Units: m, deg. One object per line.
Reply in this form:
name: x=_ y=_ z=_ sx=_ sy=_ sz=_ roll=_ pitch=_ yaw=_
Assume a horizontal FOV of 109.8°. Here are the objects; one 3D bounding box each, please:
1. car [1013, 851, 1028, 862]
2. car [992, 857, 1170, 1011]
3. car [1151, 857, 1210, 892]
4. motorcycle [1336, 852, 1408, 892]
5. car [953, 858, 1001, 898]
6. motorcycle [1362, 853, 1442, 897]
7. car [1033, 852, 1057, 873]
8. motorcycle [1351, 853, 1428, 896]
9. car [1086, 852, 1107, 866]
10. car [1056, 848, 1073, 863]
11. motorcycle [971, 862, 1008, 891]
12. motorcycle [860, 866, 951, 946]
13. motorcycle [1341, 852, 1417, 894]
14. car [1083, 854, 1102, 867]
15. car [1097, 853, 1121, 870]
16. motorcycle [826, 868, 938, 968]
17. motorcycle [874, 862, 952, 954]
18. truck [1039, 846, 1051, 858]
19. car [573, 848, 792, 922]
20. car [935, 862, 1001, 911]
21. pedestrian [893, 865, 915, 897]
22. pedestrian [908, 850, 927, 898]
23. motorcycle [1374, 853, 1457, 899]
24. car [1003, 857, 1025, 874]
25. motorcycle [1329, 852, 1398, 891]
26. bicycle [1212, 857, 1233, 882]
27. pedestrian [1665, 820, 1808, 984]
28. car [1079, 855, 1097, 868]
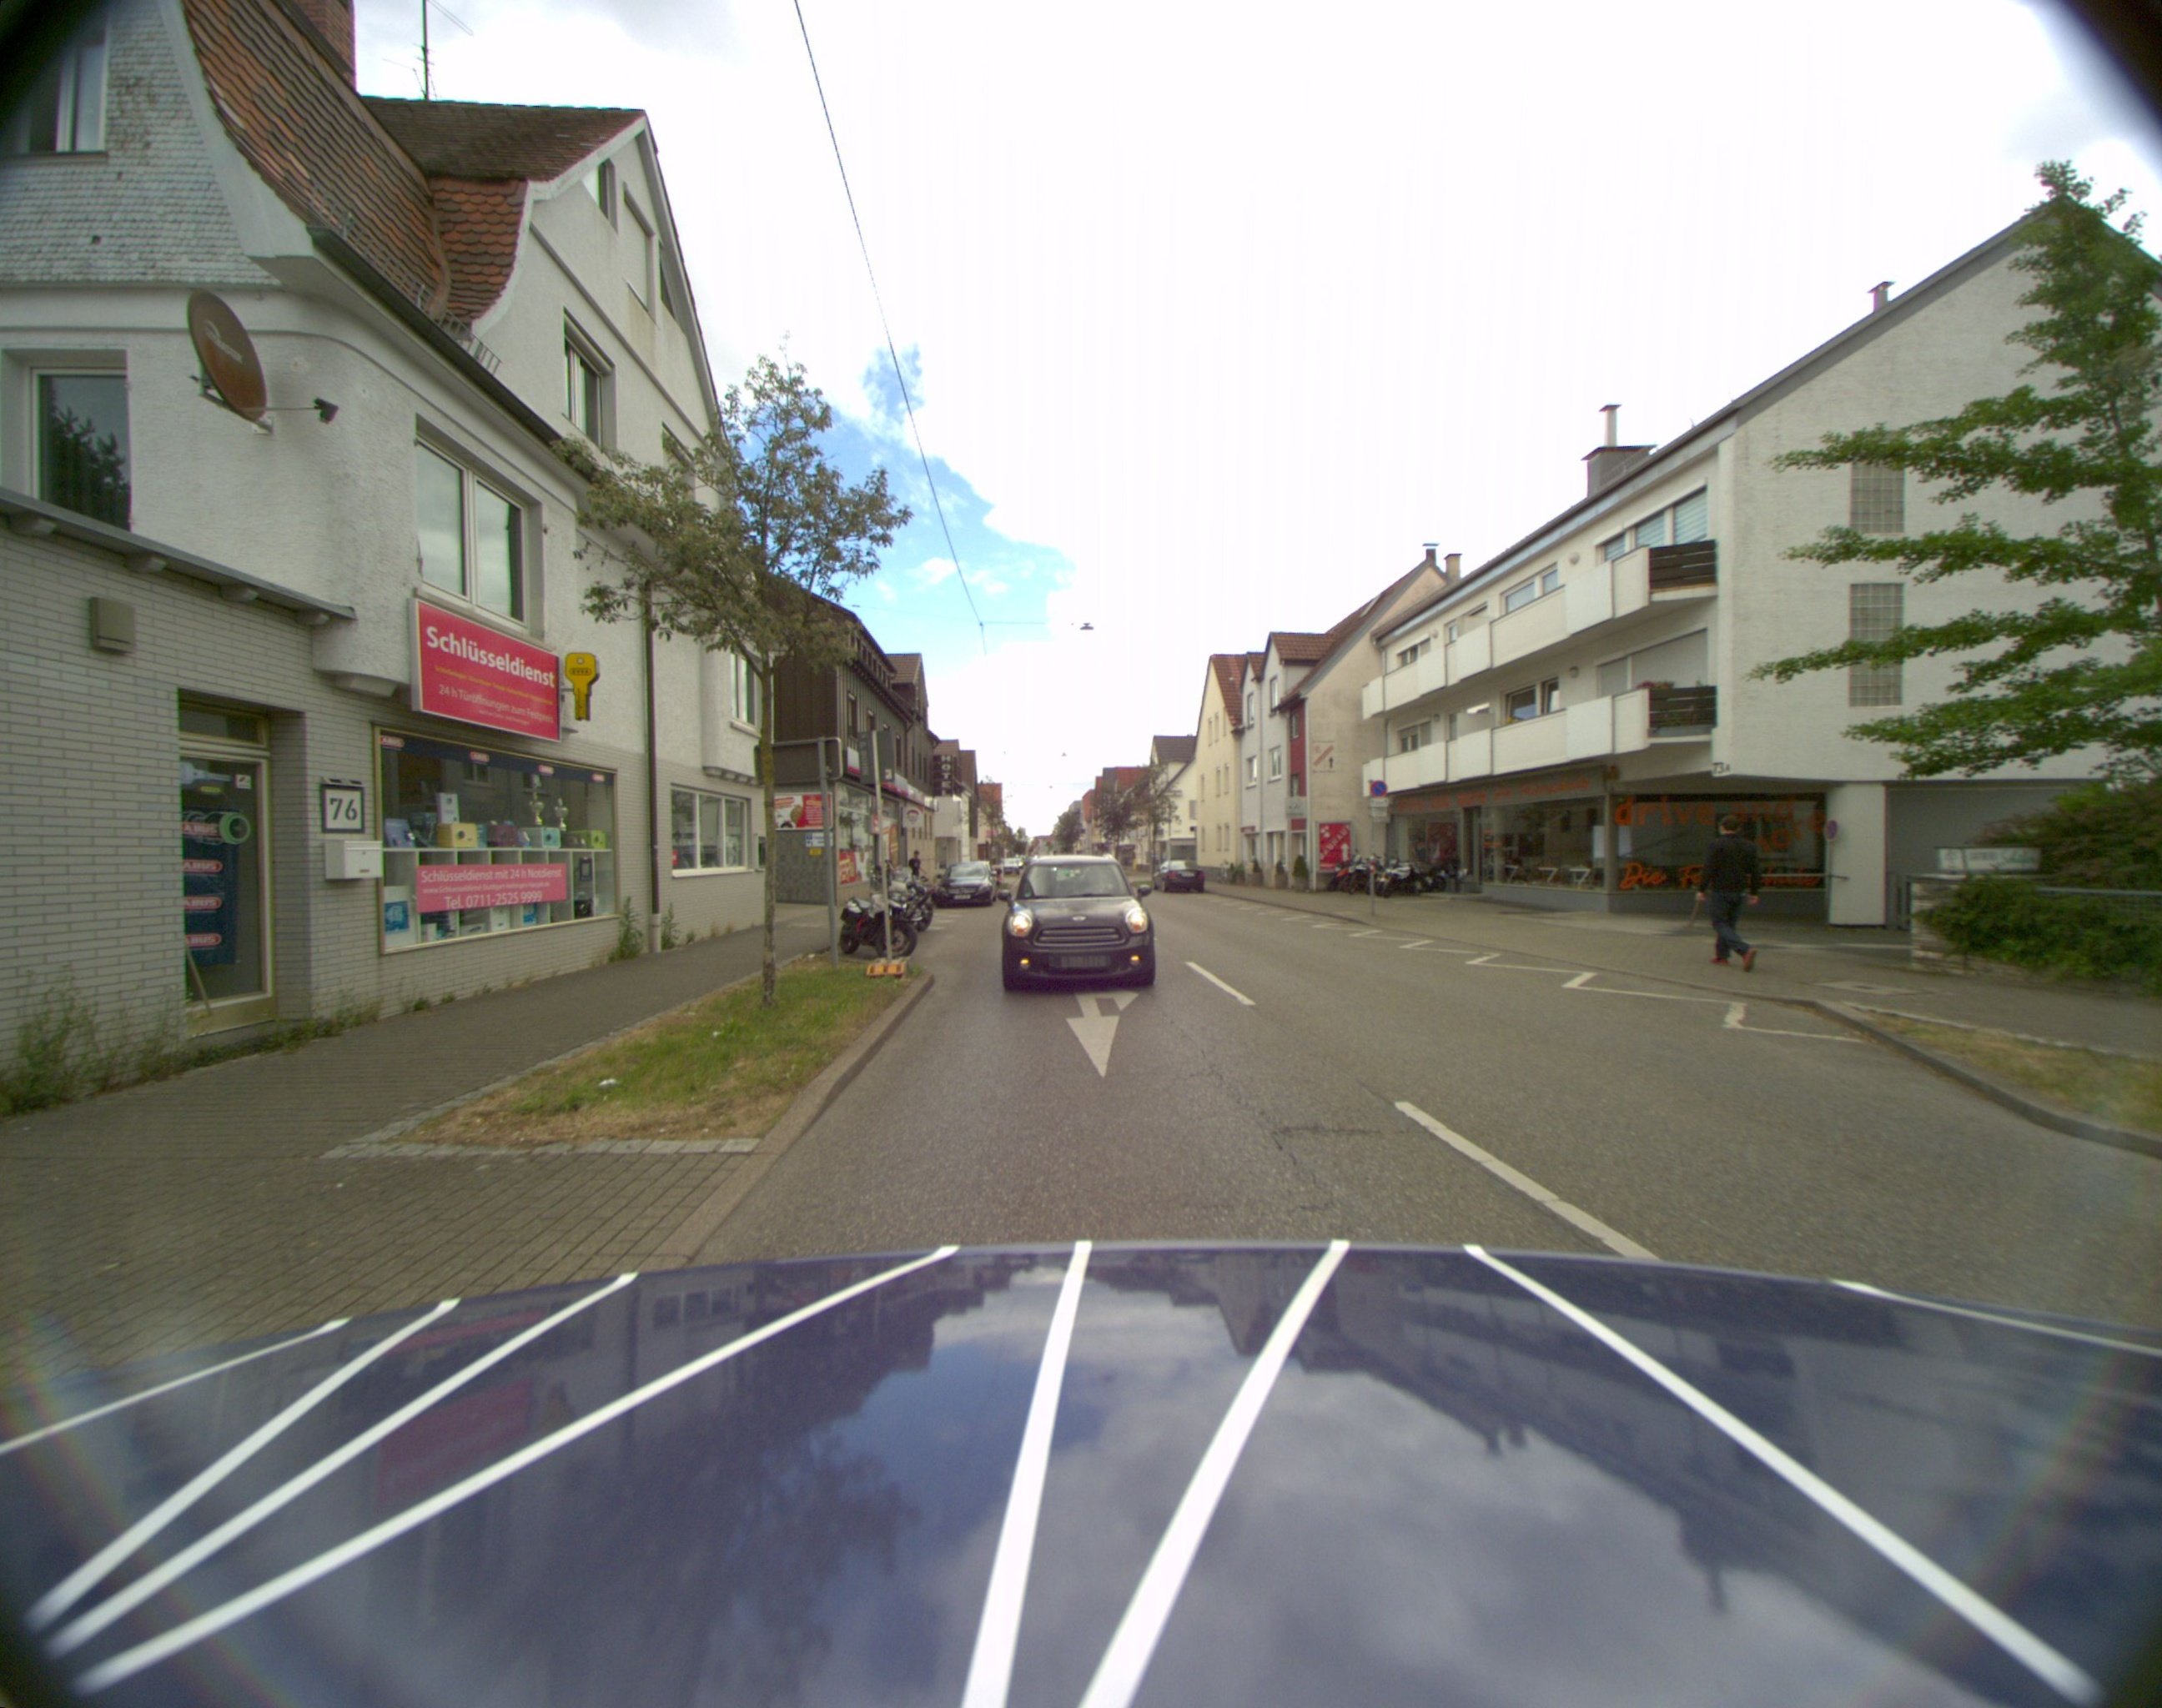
car: x=-7.765 y=0.301 z=97.973 sx=1.795 sy=1.397 sz=3.947 roll=1 pitch=0 yaw=-3
car: x=-0.173 y=0.855 z=10.424 sx=1.856 sy=1.527 sz=4.734 roll=-2 pitch=1 yaw=-5
car: x=4.387 y=0.871 z=34.098 sx=1.793 sy=1.409 sz=4.339 roll=0 pitch=0 yaw=-4
motorcycle: x=10.142 y=0.618 z=26.494 sx=2.231 sy=1.258 sz=0.613 roll=-3 pitch=1 yaw=-4
car: x=-4.193 y=0.935 z=31.244 sx=1.645 sy=1.433 sz=3.901 roll=-2 pitch=0 yaw=-4
motorcycle: x=10.132 y=0.655 z=23.980 sx=2.231 sy=1.258 sz=0.613 roll=-3 pitch=1 yaw=-4
car: x=-2.952 y=0.706 z=63.005 sx=1.855 sy=1.615 sz=4.735 roll=-2 pitch=1 yaw=-2
motorcycle: x=10.067 y=0.651 z=24.815 sx=2.231 sy=1.258 sz=0.613 roll=-3 pitch=1 yaw=-4
car: x=1.619 y=0.459 z=79.989 sx=1.716 sy=1.389 sz=3.898 roll=-2 pitch=0 yaw=-5
car: x=-2.180 y=0.160 z=97.901 sx=1.856 sy=1.932 sz=4.489 roll=1 pitch=0 yaw=-5
motorcycle: x=-4.173 y=1.012 z=34.570 sx=1.589 sy=1.284 sz=0.500 roll=-2 pitch=1 yaw=-32
motorcycle: x=-3.527 y=1.010 z=15.549 sx=0.648 sy=1.432 sz=2.472 roll=-1 pitch=1 yaw=16
motorcycle: x=10.037 y=0.629 z=25.612 sx=2.231 sy=1.258 sz=0.699 roll=-3 pitch=1 yaw=-4
car: x=1.259 y=0.696 z=85.019 sx=1.716 sy=1.389 sz=3.898 roll=-2 pitch=0 yaw=-5
car: x=2.534 y=0.660 z=69.545 sx=1.716 sy=1.389 sz=3.898 roll=-2 pitch=0 yaw=-5
motorcycle: x=-3.135 y=0.920 z=11.798 sx=0.777 sy=1.373 sz=2.237 roll=-2 pitch=1 yaw=-40
motorcycle: x=-3.099 y=0.939 z=14.293 sx=0.672 sy=1.516 sz=2.598 roll=-2 pitch=1 yaw=4
truck: x=-9.408 y=-0.570 z=199.439 sx=2.800 sy=3.020 sz=8.248 roll=-2 pitch=0 yaw=-3
car: x=-9.376 y=0.712 z=18.170 sx=4.210 sy=1.579 sz=1.854 roll=2 pitch=1 yaw=-3
car: x=-3.768 y=1.030 z=25.969 sx=1.830 sy=1.400 sz=4.563 roll=-2 pitch=0 yaw=-4
pedestrian: x=-6.814 y=1.028 z=29.314 sx=0.742 sy=1.204 sz=0.643 roll=0 pitch=1 yaw=-4
pedestrian: x=-5.949 y=0.725 z=27.672 sx=0.644 sy=1.730 sz=0.742 roll=0 pitch=1 yaw=-8
motorcycle: x=10.158 y=0.661 z=23.099 sx=2.231 sy=1.258 sz=0.613 roll=-3 pitch=1 yaw=-4
car: x=-5.958 y=1.007 z=67.647 sx=1.795 sy=1.356 sz=3.947 roll=1 pitch=0 yaw=-3
motorcycle: x=10.091 y=0.617 z=27.174 sx=2.231 sy=1.258 sz=0.613 roll=-3 pitch=1 yaw=-4
bicycle: x=7.174 y=0.767 z=38.563 sx=0.515 sy=1.189 sz=2.023 roll=-2 pitch=1 yaw=-4
pedestrian: x=7.974 y=0.553 z=9.299 sx=0.753 sy=1.839 sz=1.019 roll=-4 pitch=1 yaw=-2
car: x=0.810 y=0.864 z=90.649 sx=1.716 sy=1.389 sz=3.898 roll=-2 pitch=0 yaw=-5
